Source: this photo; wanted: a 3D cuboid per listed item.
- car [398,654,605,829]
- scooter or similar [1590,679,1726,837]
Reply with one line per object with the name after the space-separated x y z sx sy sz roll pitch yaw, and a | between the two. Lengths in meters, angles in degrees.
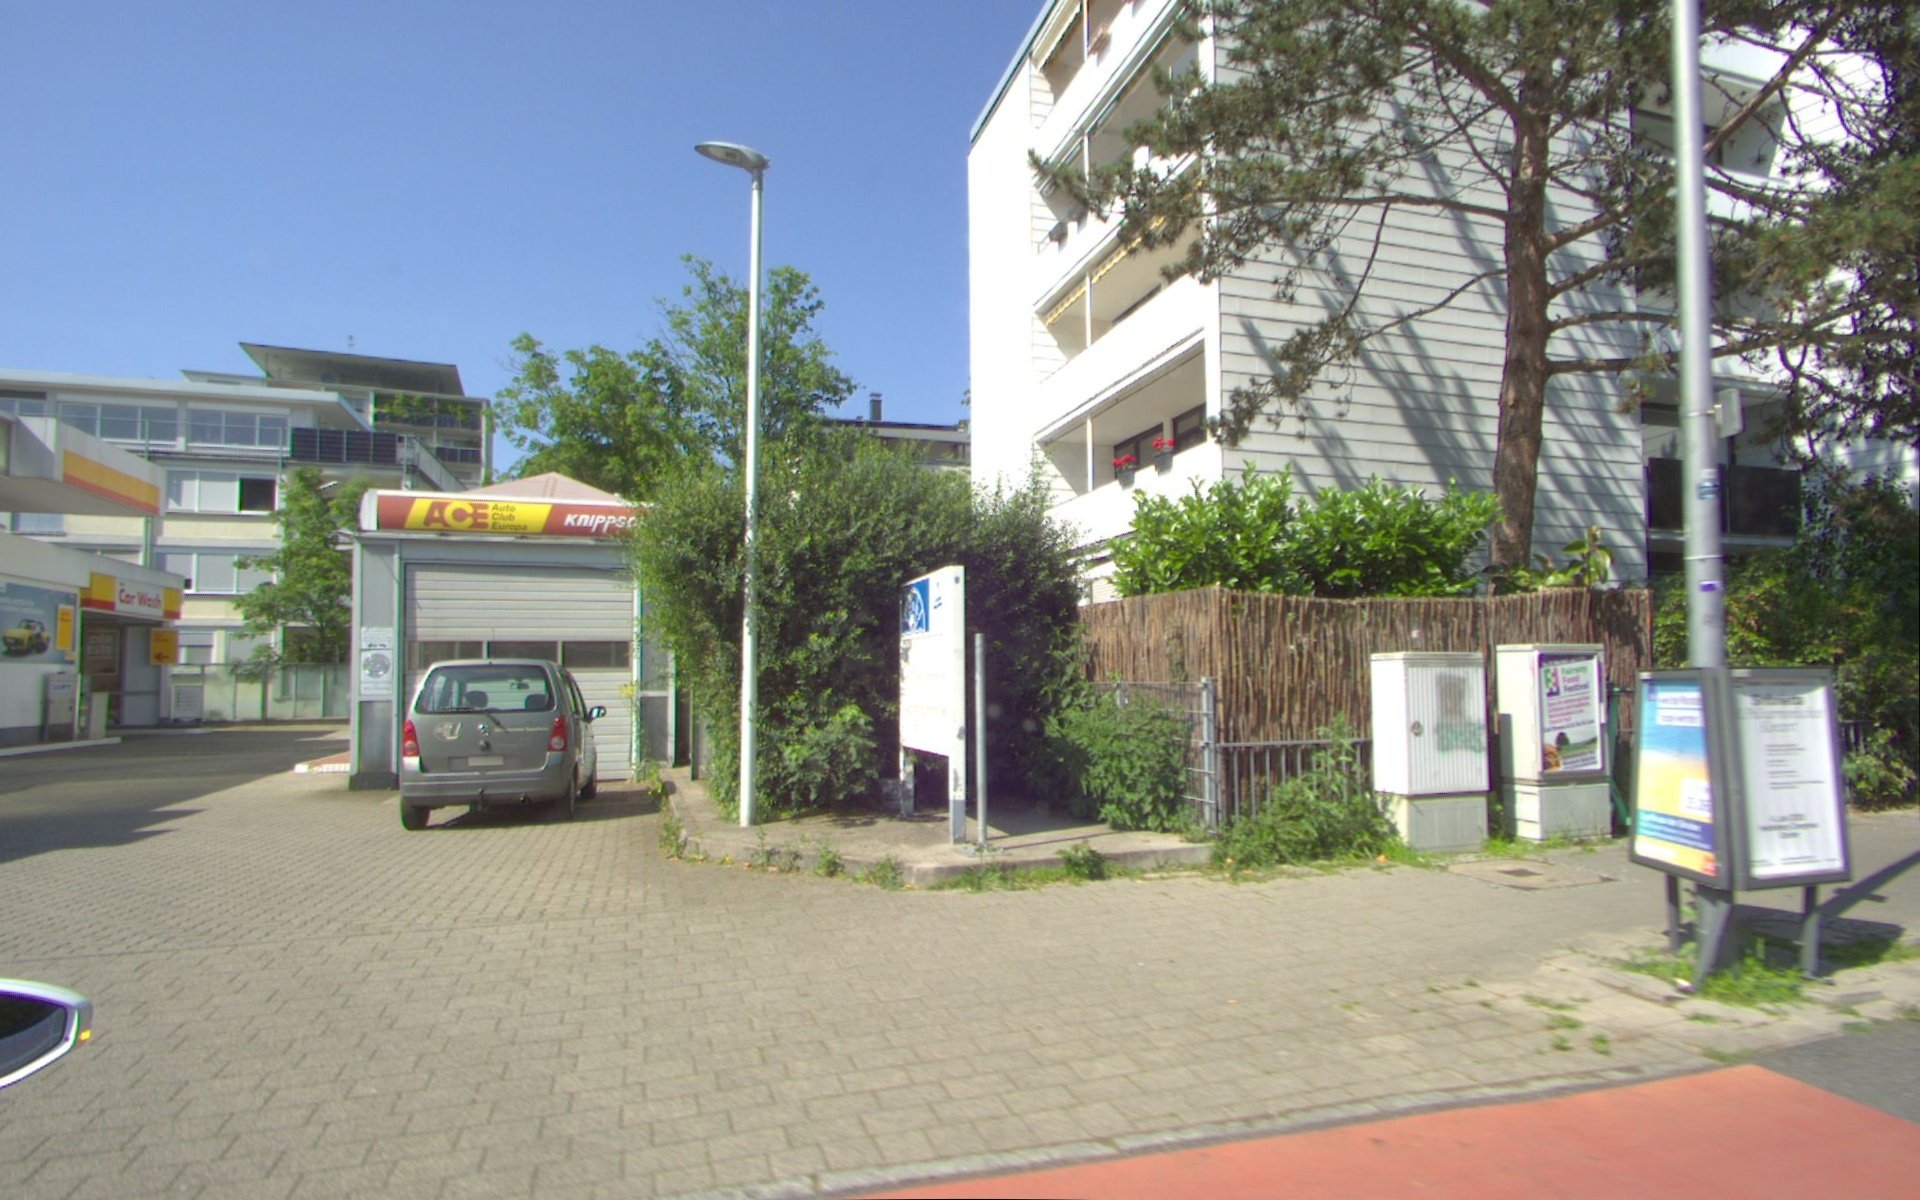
-4.992 1.486 11.379 1.562 1.614 3.832 1 -5 -16 | car
5.417 1.209 7.779 0.940 1.180 0.231 0 -4 -11 | scooter or similar
